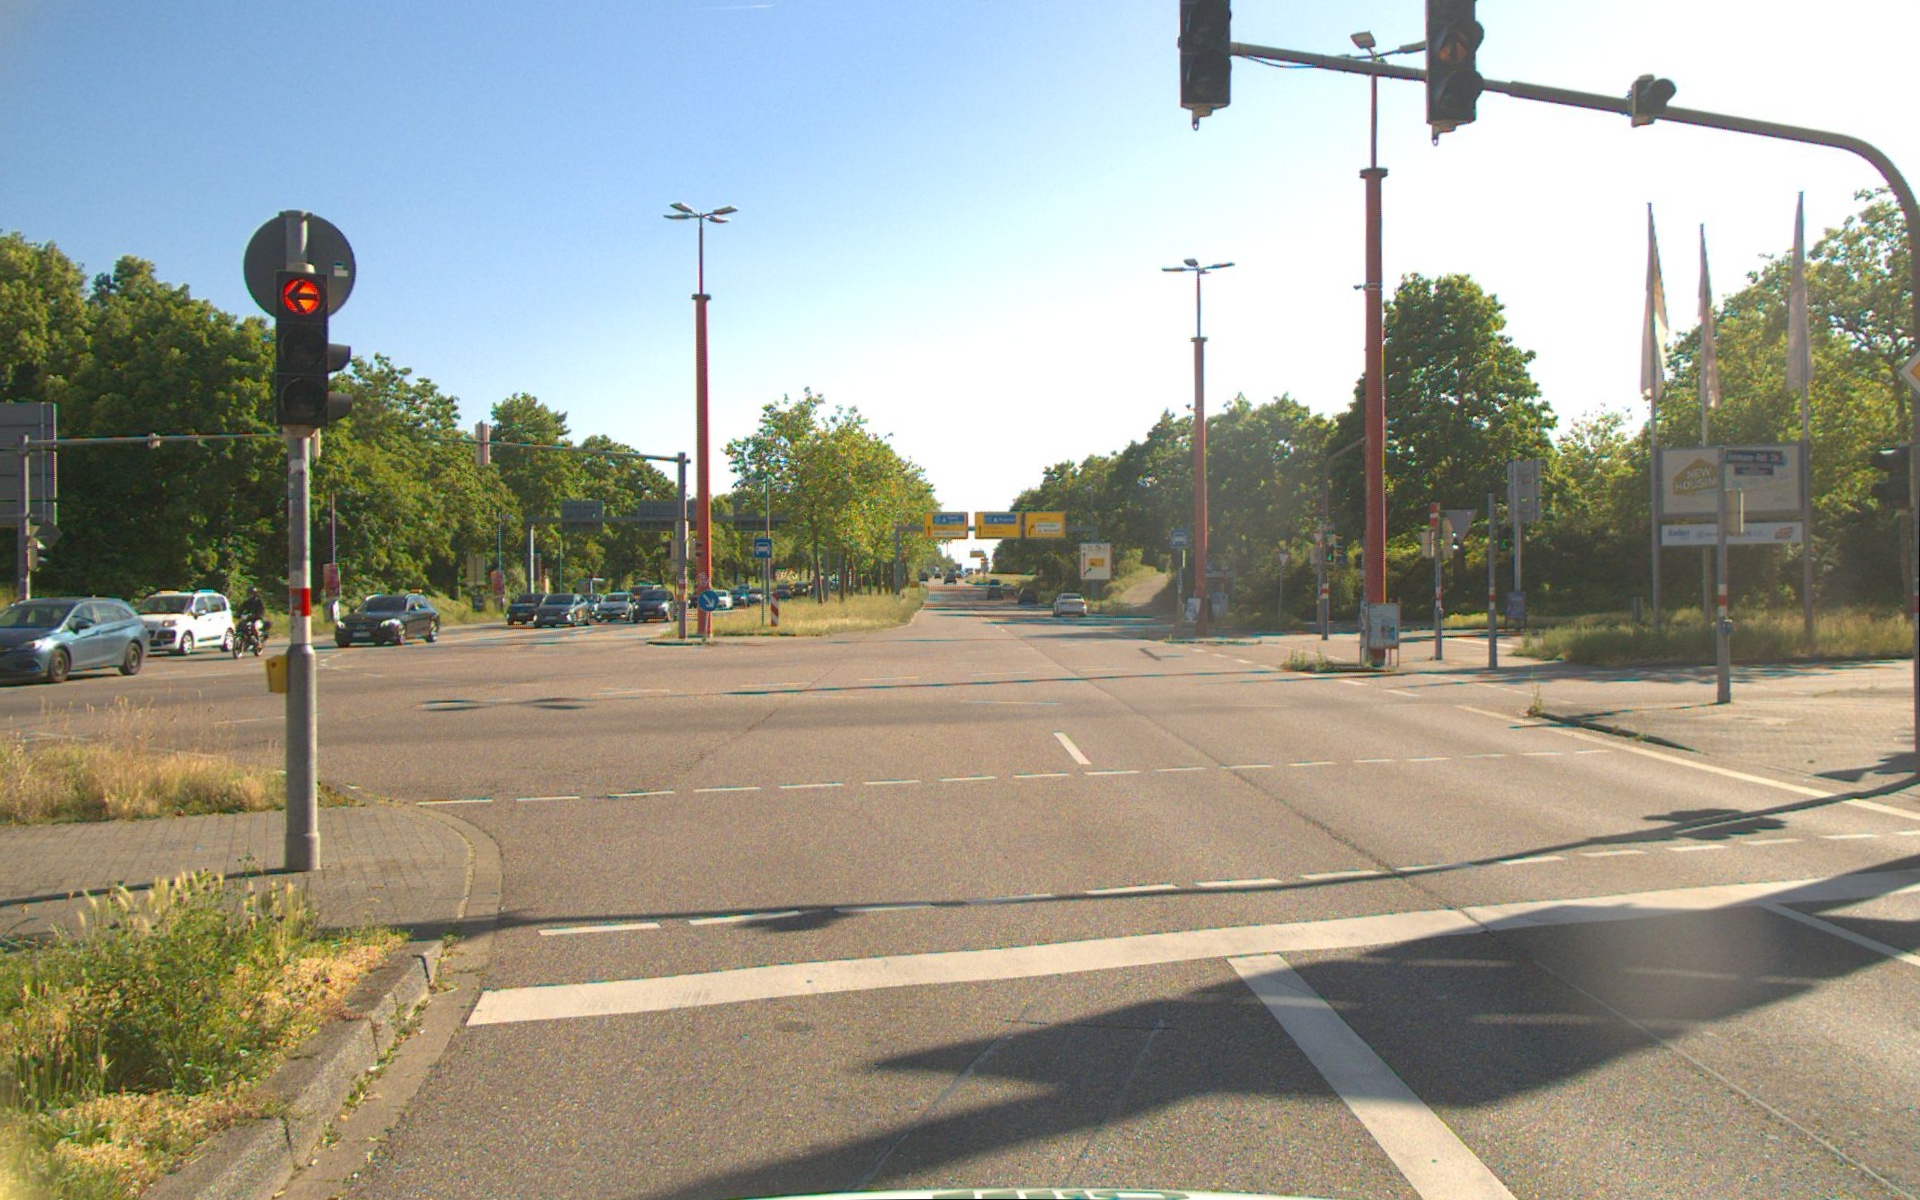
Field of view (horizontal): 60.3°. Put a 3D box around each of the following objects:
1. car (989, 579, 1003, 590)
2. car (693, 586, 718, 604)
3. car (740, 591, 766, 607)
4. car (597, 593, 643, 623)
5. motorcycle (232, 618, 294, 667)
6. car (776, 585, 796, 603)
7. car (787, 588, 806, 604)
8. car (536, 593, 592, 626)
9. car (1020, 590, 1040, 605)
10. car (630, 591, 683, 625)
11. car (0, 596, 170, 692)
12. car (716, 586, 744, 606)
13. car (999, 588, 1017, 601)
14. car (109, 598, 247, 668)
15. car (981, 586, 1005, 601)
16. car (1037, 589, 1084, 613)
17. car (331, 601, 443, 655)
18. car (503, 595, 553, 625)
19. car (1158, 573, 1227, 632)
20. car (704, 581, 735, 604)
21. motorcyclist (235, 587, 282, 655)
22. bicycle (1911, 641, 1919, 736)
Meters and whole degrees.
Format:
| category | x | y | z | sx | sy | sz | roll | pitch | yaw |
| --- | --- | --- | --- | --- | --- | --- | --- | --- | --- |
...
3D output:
| category | x | y | z | sx | sy | sz | roll | pitch | yaw |
| --- | --- | --- | --- | --- | --- | --- | --- | --- | --- |
| car | 5.424 | -2.331 | 248.850 | 1.951 | 1.567 | 4.003 | 0 | 0 | 5 |
| car | -21.137 | -0.384 | 137.601 | 1.595 | 1.476 | 3.433 | 1 | 0 | -1 |
| car | -18.122 | -0.090 | 144.929 | 1.964 | 1.330 | 3.997 | 0 | 0 | -4 |
| car | -17.351 | 0.370 | 84.567 | 1.572 | 1.485 | 3.950 | 0 | 0 | 0 |
| motorcycle | -17.090 | 1.019 | 40.592 | 0.412 | 1.151 | 2.096 | 1 | 0 | 6 |
| car | -17.842 | -0.601 | 169.579 | 1.592 | 1.769 | 4.000 | 0 | 0 | 0 |
| car | -18.571 | -0.422 | 188.065 | 1.623 | 1.778 | 4.000 | 1 | 0 | 0 |
| car | -17.293 | 0.407 | 72.424 | 1.517 | 1.401 | 4.261 | 0 | 0 | -1 |
| car | 6.383 | -0.260 | 151.685 | 1.702 | 1.365 | 3.081 | 0 | 0 | -1 |
| car | -14.075 | 0.374 | 76.894 | 1.666 | 1.446 | 3.999 | 3 | 0 | 0 |
| car | -16.678 | 0.758 | 30.555 | 1.952 | 1.622 | 4.464 | -1 | 0 | 1 |
| car | -18.473 | -0.307 | 133.103 | 1.669 | 1.586 | 3.803 | 1 | 0 | 0 |
| car | 5.712 | -0.635 | 198.423 | 1.953 | 1.567 | 3.999 | 1 | 0 | -1 |
| car | -20.719 | 0.846 | 43.998 | 1.764 | 1.737 | 4.059 | -1 | 0 | -1 |
| car | 3.477 | -0.695 | 174.641 | 1.955 | 1.523 | 3.994 | 0 | 0 | -7 |
| car | 5.924 | 0.046 | 98.207 | 2.015 | 1.395 | 4.385 | 0 | 0 | -7 |
| car | -16.861 | 0.800 | 48.900 | 1.838 | 1.511 | 4.603 | 1 | 0 | -2 |
| car | -21.759 | 0.486 | 83.390 | 1.513 | 1.458 | 3.885 | -1 | 0 | 0 |
| car | 7.984 | 0.065 | 56.583 | 1.951 | 1.920 | 4.003 | 0 | 0 | 14 |
| car | -17.599 | -0.531 | 121.034 | 1.669 | 1.624 | 4.000 | 1 | 0 | 0 |
| motorcyclist | -17.112 | 0.516 | 40.345 | 0.817 | 1.627 | 0.641 | 1 | 0 | 6 |
| bicycle | 10.097 | 0.829 | 16.069 | 2.141 | 0.894 | 0.553 | -1 | 0 | -32 |
